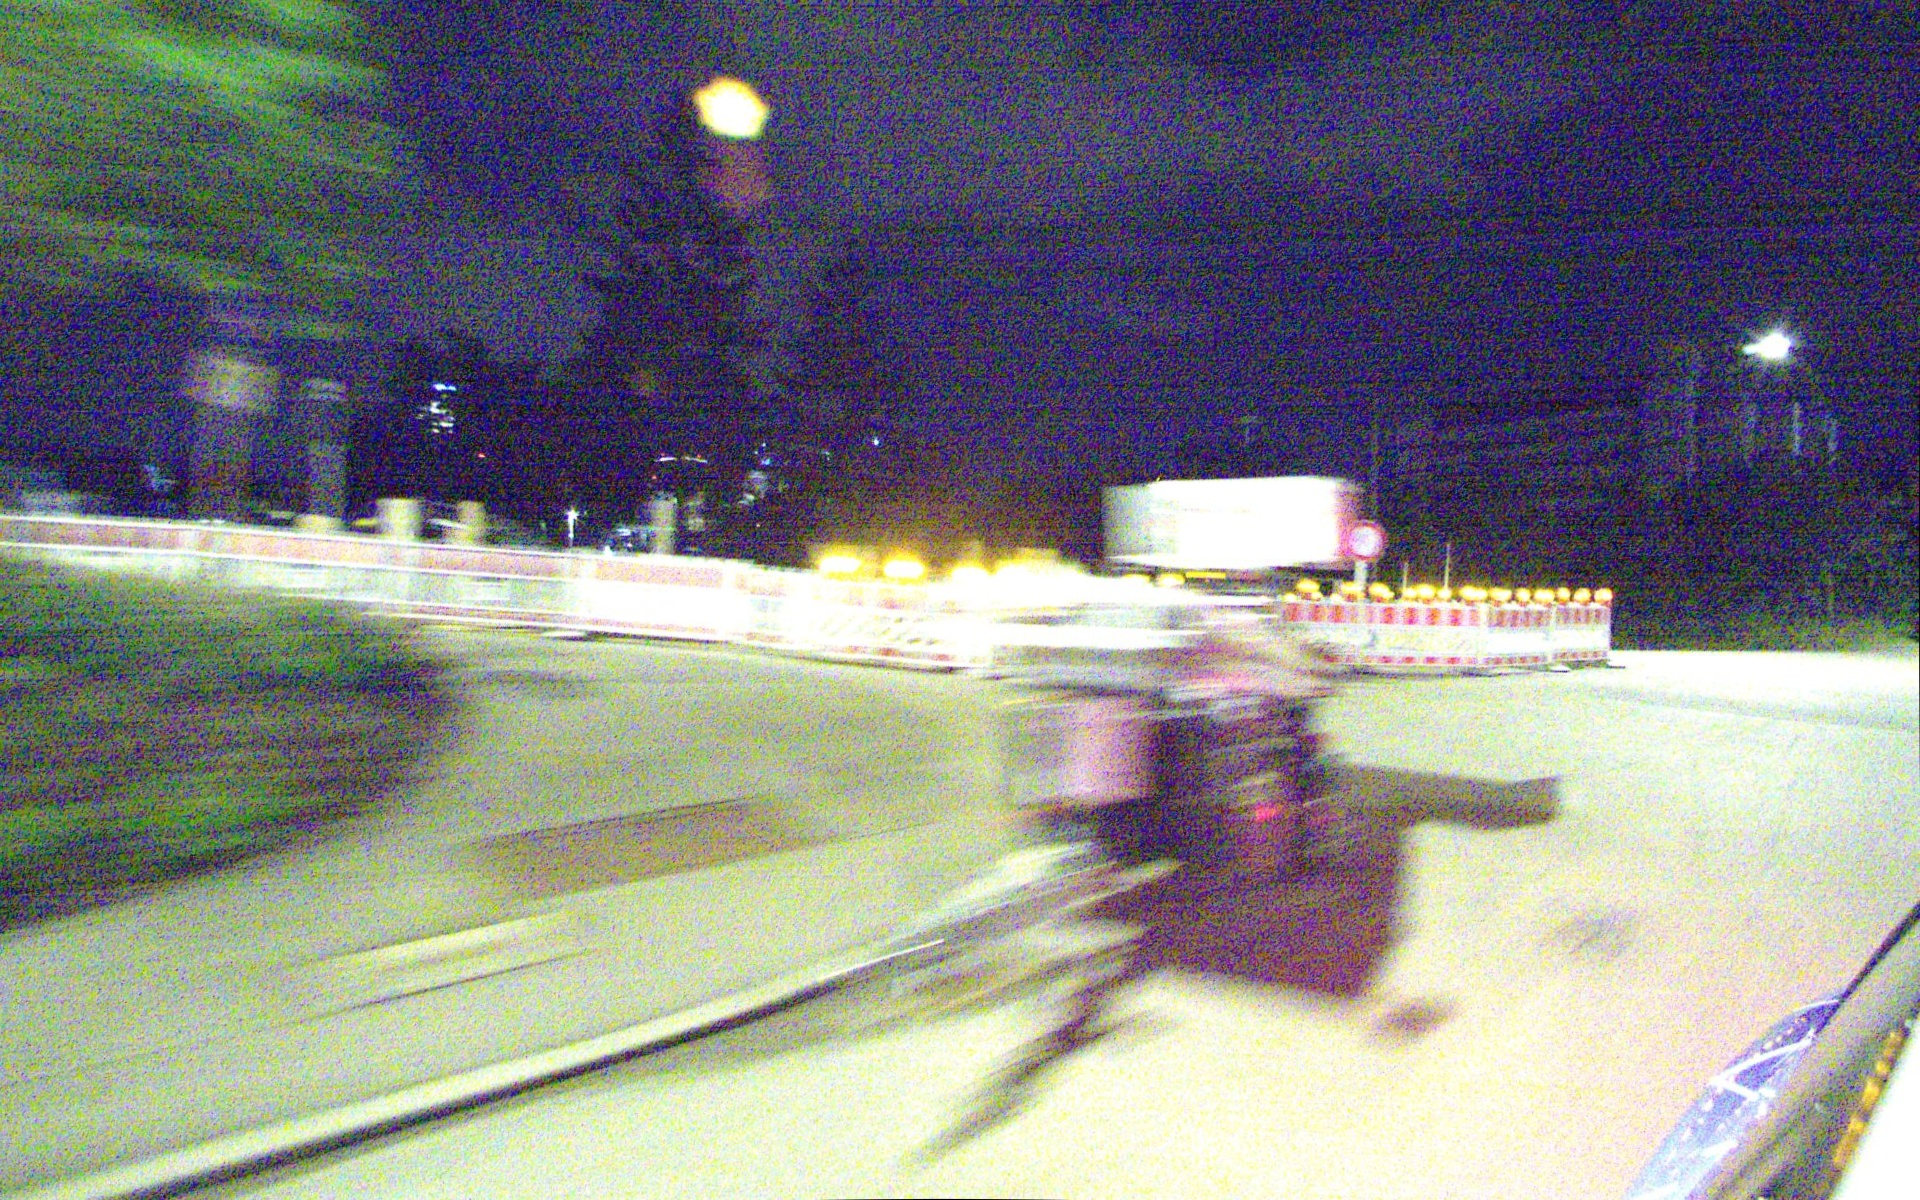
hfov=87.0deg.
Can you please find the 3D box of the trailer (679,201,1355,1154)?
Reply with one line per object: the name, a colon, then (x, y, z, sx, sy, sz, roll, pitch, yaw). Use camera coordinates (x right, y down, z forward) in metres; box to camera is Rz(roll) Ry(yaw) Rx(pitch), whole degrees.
trailer: (0.950, 0.099, 5.009, 1.548, 2.187, 5.178, 1, 2, 25)
